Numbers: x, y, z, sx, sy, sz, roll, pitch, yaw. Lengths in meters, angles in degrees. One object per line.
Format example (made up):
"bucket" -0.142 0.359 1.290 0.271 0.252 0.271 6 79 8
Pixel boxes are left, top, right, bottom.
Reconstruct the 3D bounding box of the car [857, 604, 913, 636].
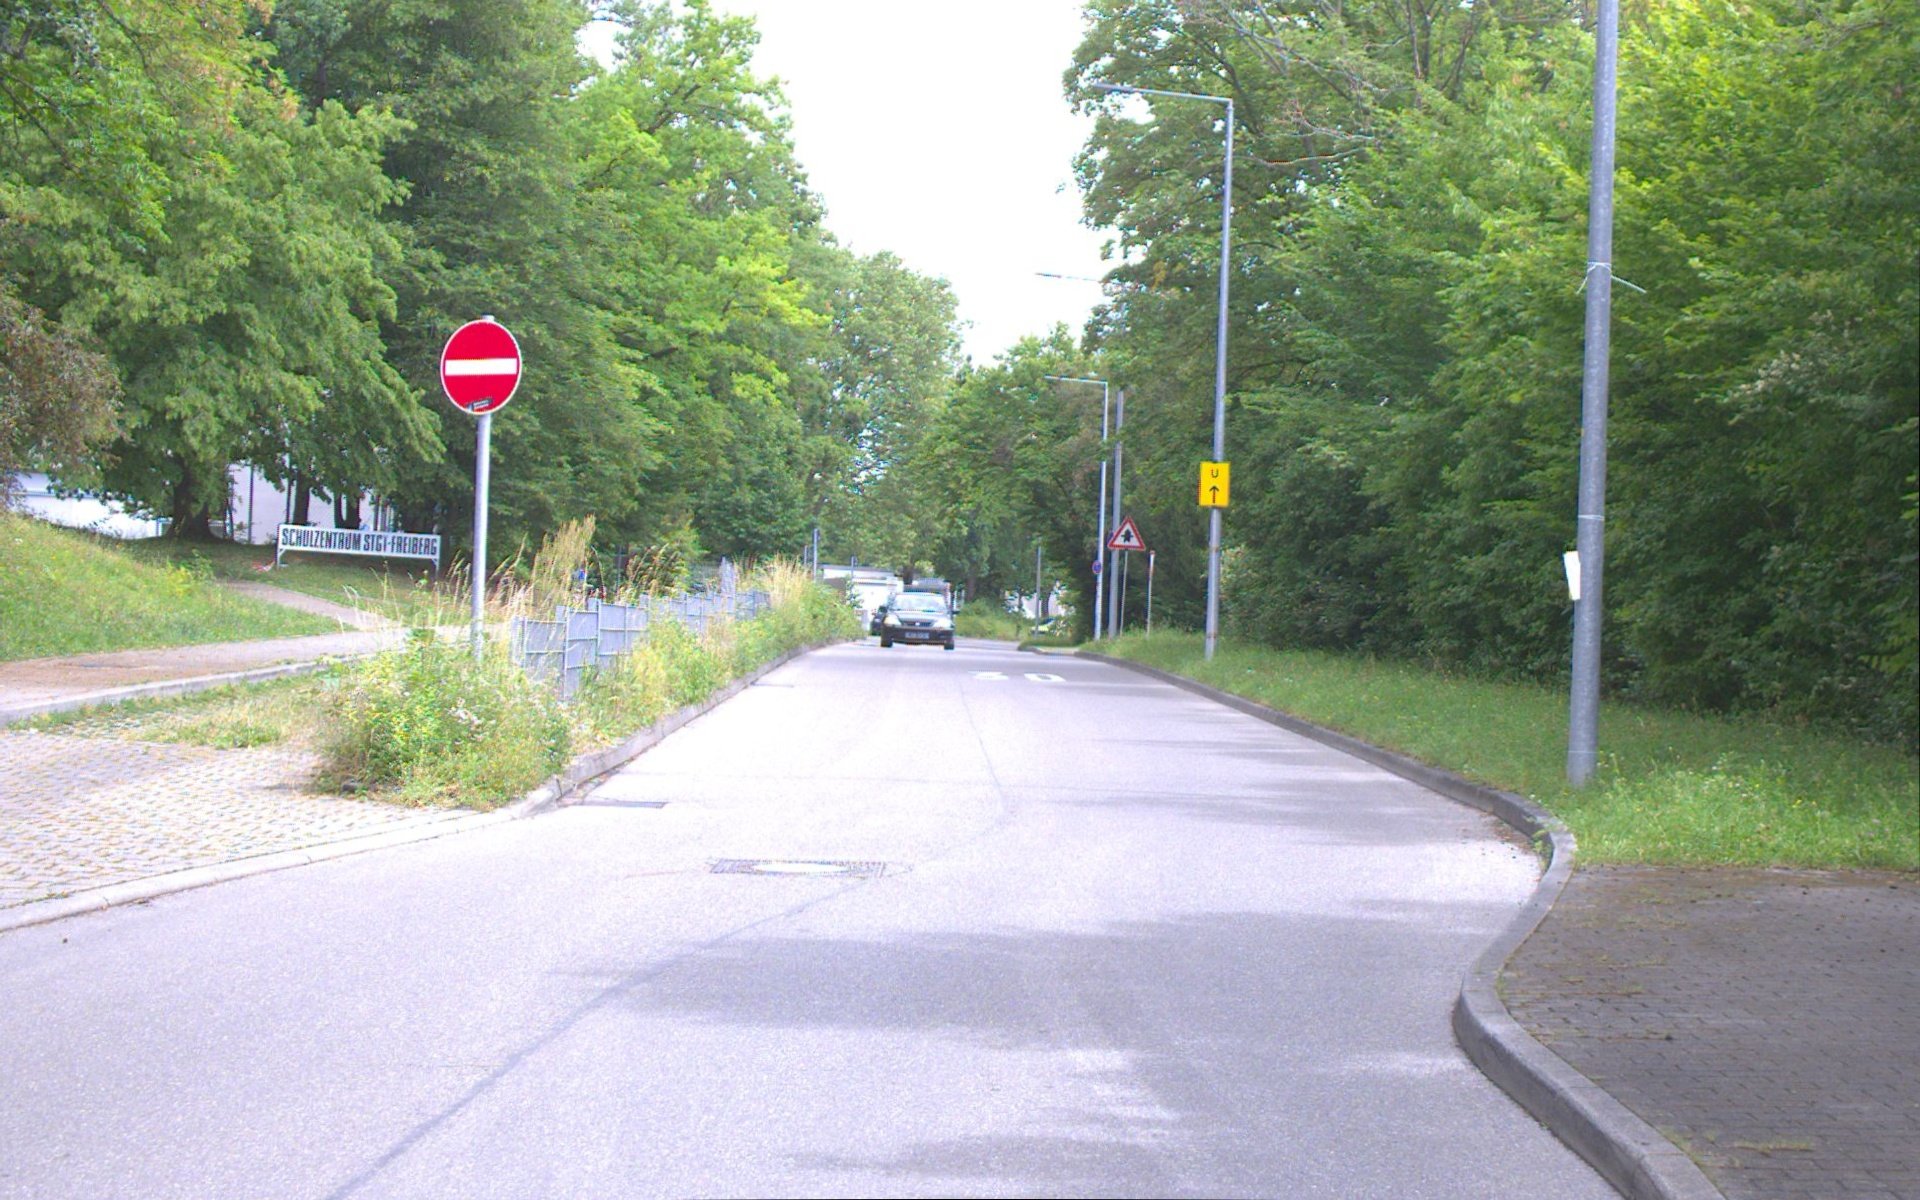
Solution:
"car" -3.464 0.945 159.150 1.979 1.379 3.999 3 0 7

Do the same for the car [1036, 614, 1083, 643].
"car" 5.716 1.660 196.444 1.861 1.487 3.997 0 -3 14

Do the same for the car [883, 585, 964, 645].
"car" -0.843 0.332 81.471 1.693 1.344 4.094 2 0 2

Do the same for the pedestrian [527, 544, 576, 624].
"pedestrian" -10.460 -0.403 88.001 0.865 2.007 0.878 3 -4 -45
